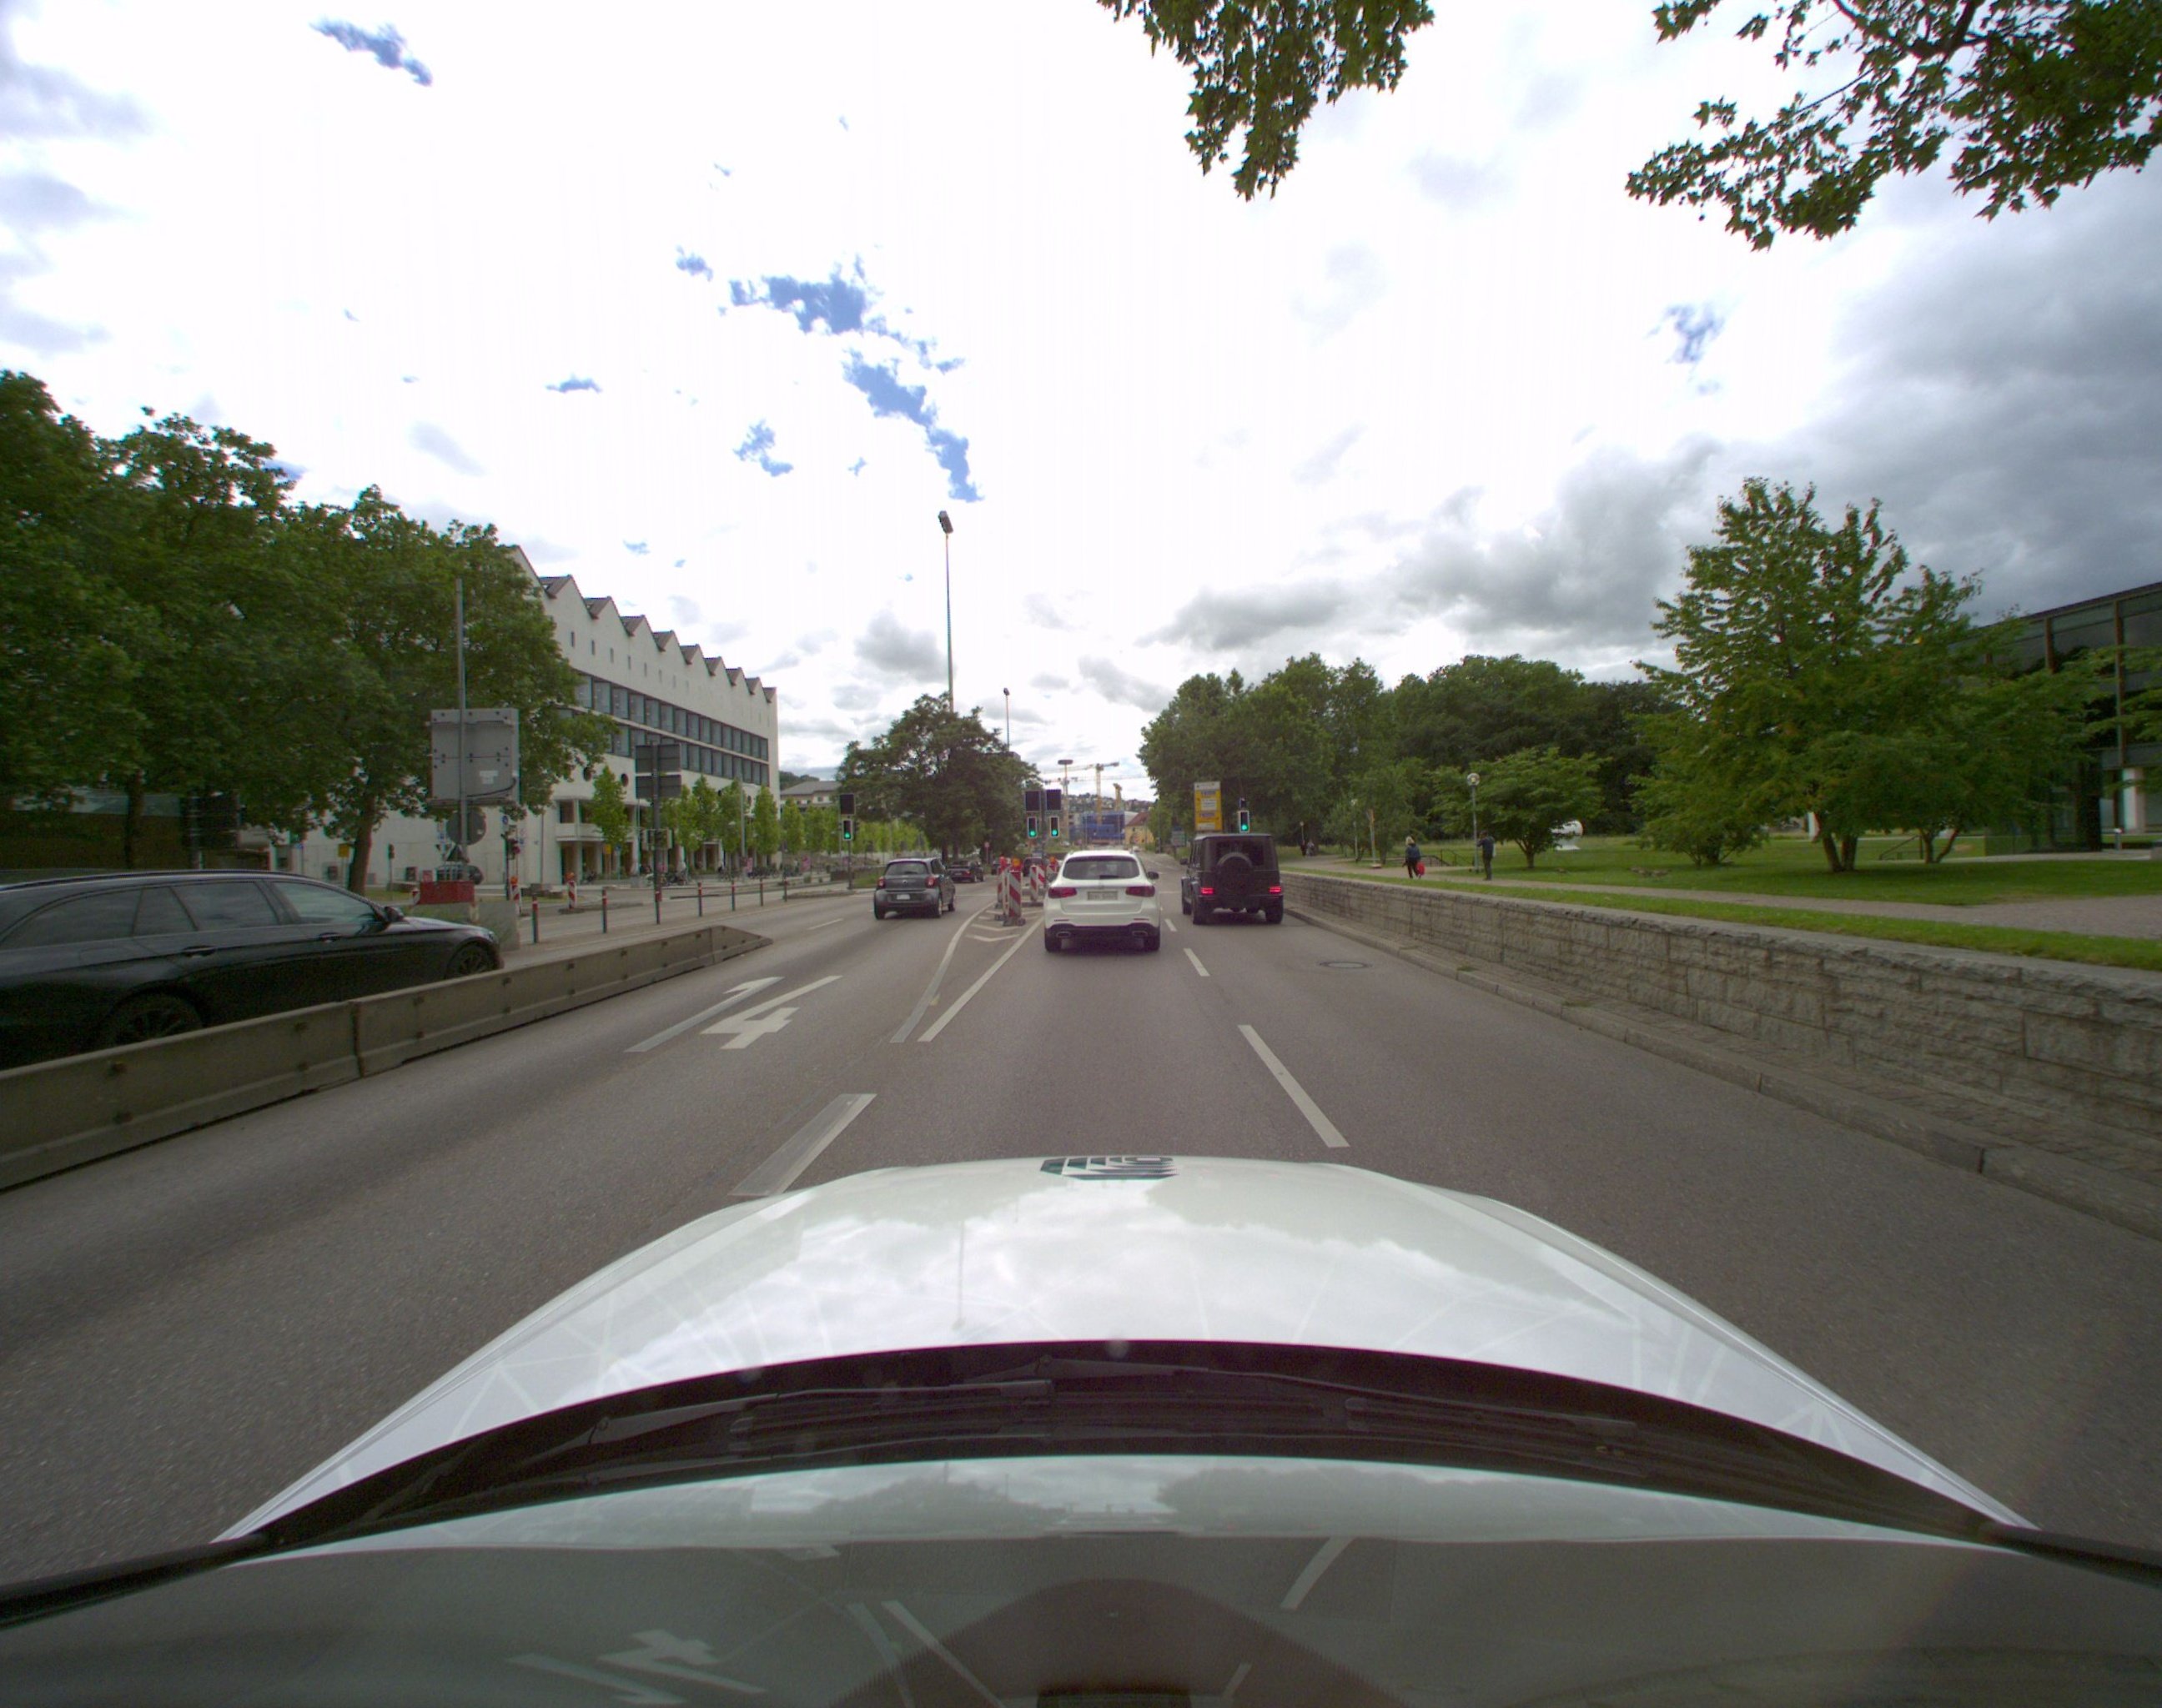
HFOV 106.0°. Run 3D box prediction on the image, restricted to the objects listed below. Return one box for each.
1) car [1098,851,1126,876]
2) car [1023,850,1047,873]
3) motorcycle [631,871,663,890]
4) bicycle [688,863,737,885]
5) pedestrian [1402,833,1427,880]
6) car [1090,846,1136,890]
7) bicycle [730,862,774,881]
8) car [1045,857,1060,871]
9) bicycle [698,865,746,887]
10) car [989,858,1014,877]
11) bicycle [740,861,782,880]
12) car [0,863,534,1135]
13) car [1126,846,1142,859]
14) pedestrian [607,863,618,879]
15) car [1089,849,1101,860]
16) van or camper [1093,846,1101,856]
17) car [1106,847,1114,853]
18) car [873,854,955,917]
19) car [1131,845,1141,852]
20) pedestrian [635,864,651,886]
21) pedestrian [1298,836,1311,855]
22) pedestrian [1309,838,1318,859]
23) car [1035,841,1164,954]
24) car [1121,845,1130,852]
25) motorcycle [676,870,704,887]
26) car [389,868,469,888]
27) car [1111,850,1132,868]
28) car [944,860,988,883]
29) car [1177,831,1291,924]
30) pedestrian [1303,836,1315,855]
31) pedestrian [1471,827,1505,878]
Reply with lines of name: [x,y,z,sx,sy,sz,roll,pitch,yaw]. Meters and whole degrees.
car: [2.087,0.612,55.241,1.714,1.584,3.998,1,0,-1]
car: [-3.513,0.577,62.846,1.714,1.678,3.998,1,0,-1]
motorcycle: [-30.363,1.822,56.945,1.892,1.234,0.653,-2,-2,-25]
bicycle: [-31.405,1.679,69.412,3.602,1.684,1.182,-2,0,-1]
pedestrian: [11.572,0.084,28.293,0.677,1.562,0.912,-2,0,18]
car: [1.233,0.558,31.965,1.666,1.628,4.001,0,-1,2]
bicycle: [-31.308,1.669,77.484,3.613,1.684,1.179,-2,0,-10]
car: [-3.350,1.109,95.085,1.715,1.584,3.995,1,0,-3]
bicycle: [-31.676,1.928,71.841,3.602,1.684,1.182,-2,0,-1]
car: [-6.961,1.146,71.703,1.747,1.553,3.999,1,0,0]
bicycle: [-31.310,1.641,79.780,3.613,1.684,1.179,-2,0,-10]
car: [-7.092,0.858,6.730,1.807,1.460,4.861,3,-1,-1]
car: [7.126,-0.149,110.269,1.987,1.662,4.000,1,-1,0]
pedestrian: [-40.241,1.483,69.944,0.517,1.327,0.565,-3,-2,1]
car: [2.472,0.070,143.380,1.986,1.757,4.002,0,-1,2]
van or camper: [3.938,-0.670,202.253,1.916,2.320,3.999,-1,-2,0]
car: [7.443,-1.025,210.312,1.714,1.584,3.998,1,0,-1]
car: [-4.323,0.782,21.524,1.624,1.509,3.535,0,-1,-3]
car: [14.261,-1.450,211.136,1.989,1.618,3.994,1,-1,-4]
pedestrian: [-31.912,1.515,59.370,0.887,1.557,0.591,-2,0,-42]
pedestrian: [20.757,-0.788,75.690,0.893,1.732,0.969,1,0,1]
pedestrian: [22.358,-0.555,78.266,0.568,2.014,0.933,0,-1,2]
car: [0.288,0.681,14.307,1.934,1.684,3.999,1,-1,0]
car: [10.614,-1.383,194.362,1.714,1.584,3.998,1,0,-1]
motorcycle: [-29.695,1.851,61.848,1.892,1.234,0.653,-2,-2,-25]
car: [-44.438,1.616,55.547,3.973,1.276,1.751,0,-1,0]
car: [3.756,0.478,76.827,1.714,1.584,3.998,1,0,-1]
car: [-6.778,1.026,48.524,1.711,1.292,4.006,1,0,5]
car: [3.422,0.506,19.132,1.970,1.893,4.709,0,-1,2]
pedestrian: [22.403,-0.870,79.909,0.991,1.836,1.032,0,-1,8]
pedestrian: [13.442,-0.041,26.910,0.797,1.626,0.627,-2,0,8]
